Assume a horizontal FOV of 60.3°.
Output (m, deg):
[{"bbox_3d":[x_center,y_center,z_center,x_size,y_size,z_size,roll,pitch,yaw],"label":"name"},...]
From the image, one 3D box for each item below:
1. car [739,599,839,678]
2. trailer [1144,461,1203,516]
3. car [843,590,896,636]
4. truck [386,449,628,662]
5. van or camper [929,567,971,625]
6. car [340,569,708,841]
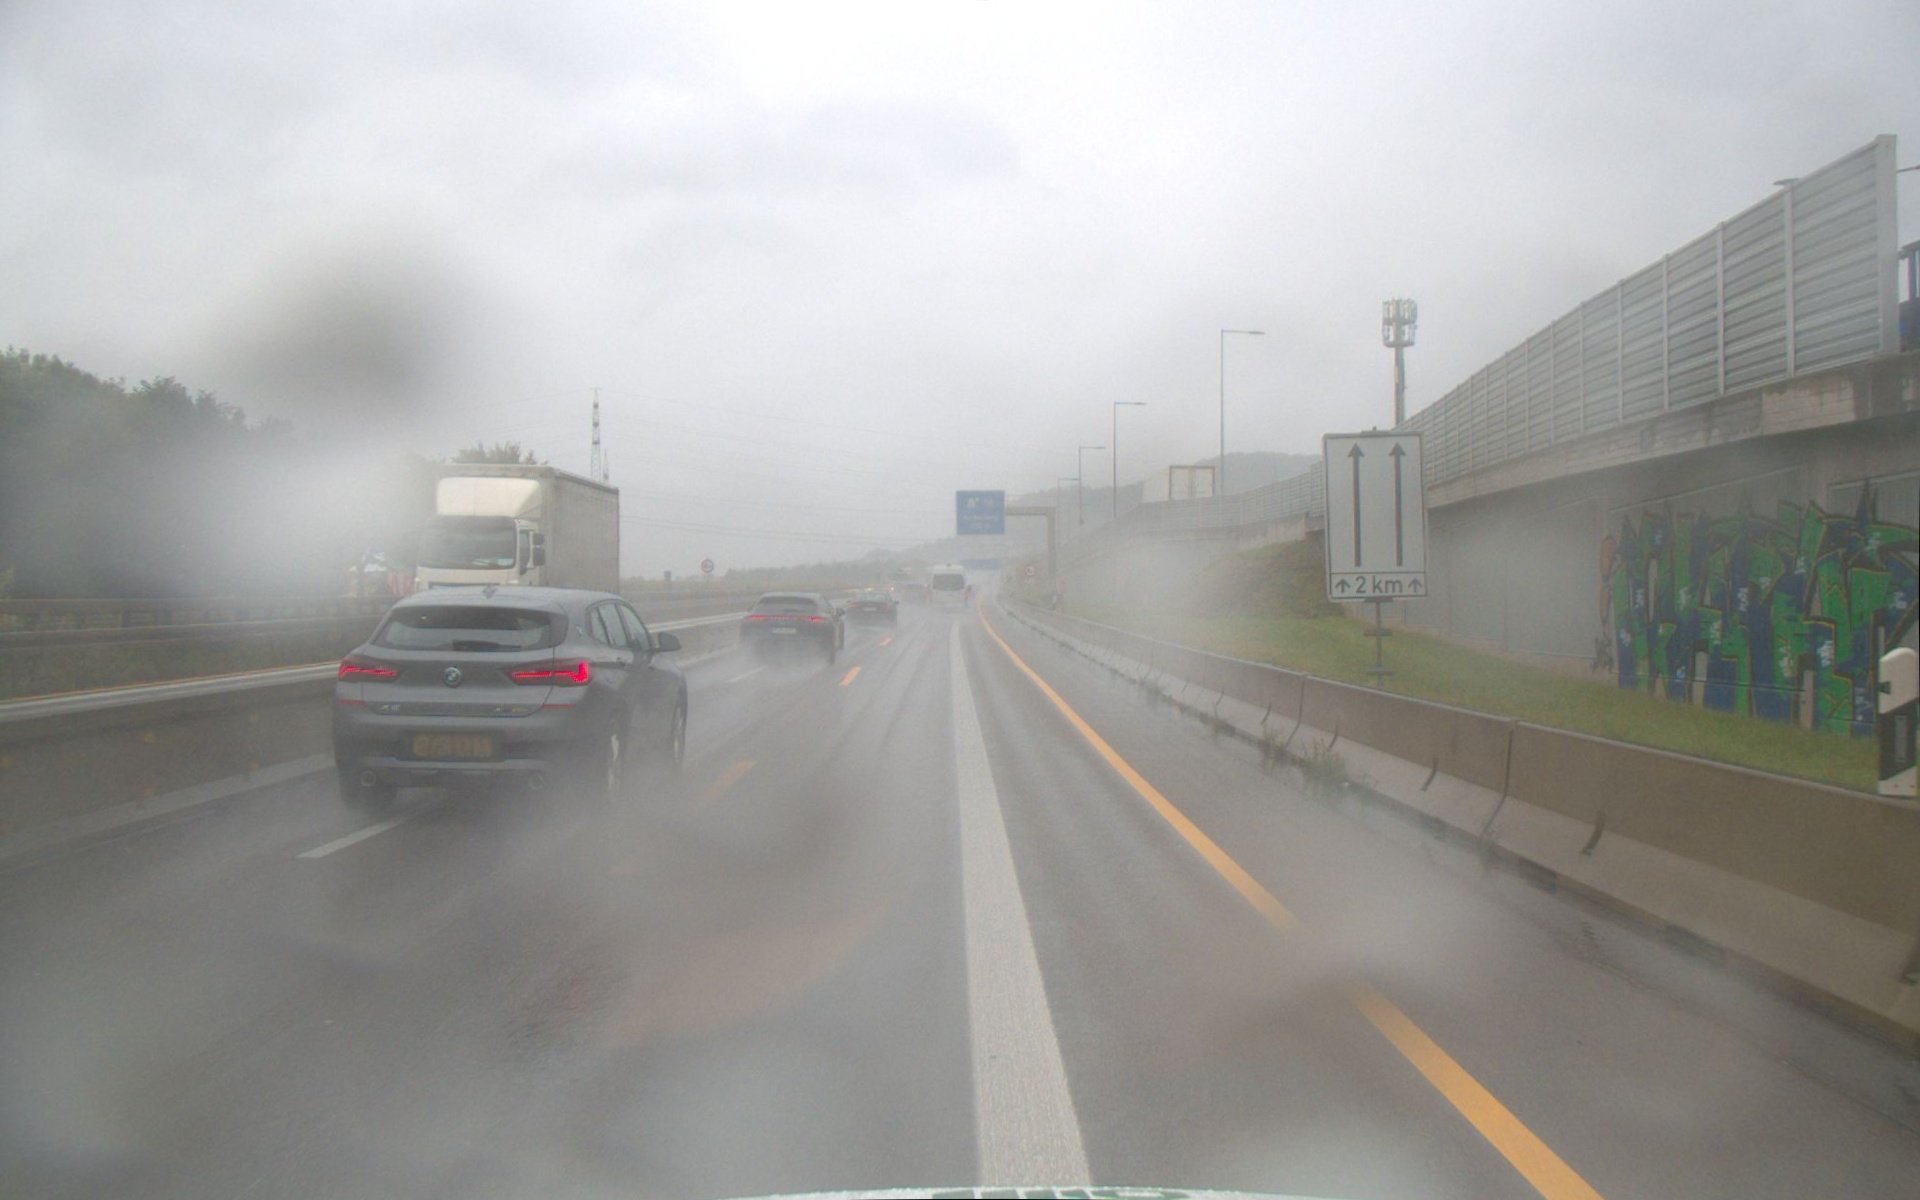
[{"bbox_3d":[-3.512,0.783,34.623,1.807,1.517,4.259,1,-1,-3],"label":"car"},{"bbox_3d":[12.586,-6.526,98.479,1.952,2.143,13.768,1,-1,1],"label":"trailer"},{"bbox_3d":[-3.253,0.450,60.091,1.807,1.517,4.259,-2,1,-3],"label":"car"},{"bbox_3d":[-10.045,-0.831,38.005,2.943,4.239,9.829,0,-1,-1],"label":"truck"},{"bbox_3d":[-0.545,-0.165,84.043,1.956,2.826,4.047,1,-1,-3],"label":"van or camper"},{"bbox_3d":[-2.997,0.623,12.415,1.667,1.626,4.843,0,0,-3],"label":"car"}]
